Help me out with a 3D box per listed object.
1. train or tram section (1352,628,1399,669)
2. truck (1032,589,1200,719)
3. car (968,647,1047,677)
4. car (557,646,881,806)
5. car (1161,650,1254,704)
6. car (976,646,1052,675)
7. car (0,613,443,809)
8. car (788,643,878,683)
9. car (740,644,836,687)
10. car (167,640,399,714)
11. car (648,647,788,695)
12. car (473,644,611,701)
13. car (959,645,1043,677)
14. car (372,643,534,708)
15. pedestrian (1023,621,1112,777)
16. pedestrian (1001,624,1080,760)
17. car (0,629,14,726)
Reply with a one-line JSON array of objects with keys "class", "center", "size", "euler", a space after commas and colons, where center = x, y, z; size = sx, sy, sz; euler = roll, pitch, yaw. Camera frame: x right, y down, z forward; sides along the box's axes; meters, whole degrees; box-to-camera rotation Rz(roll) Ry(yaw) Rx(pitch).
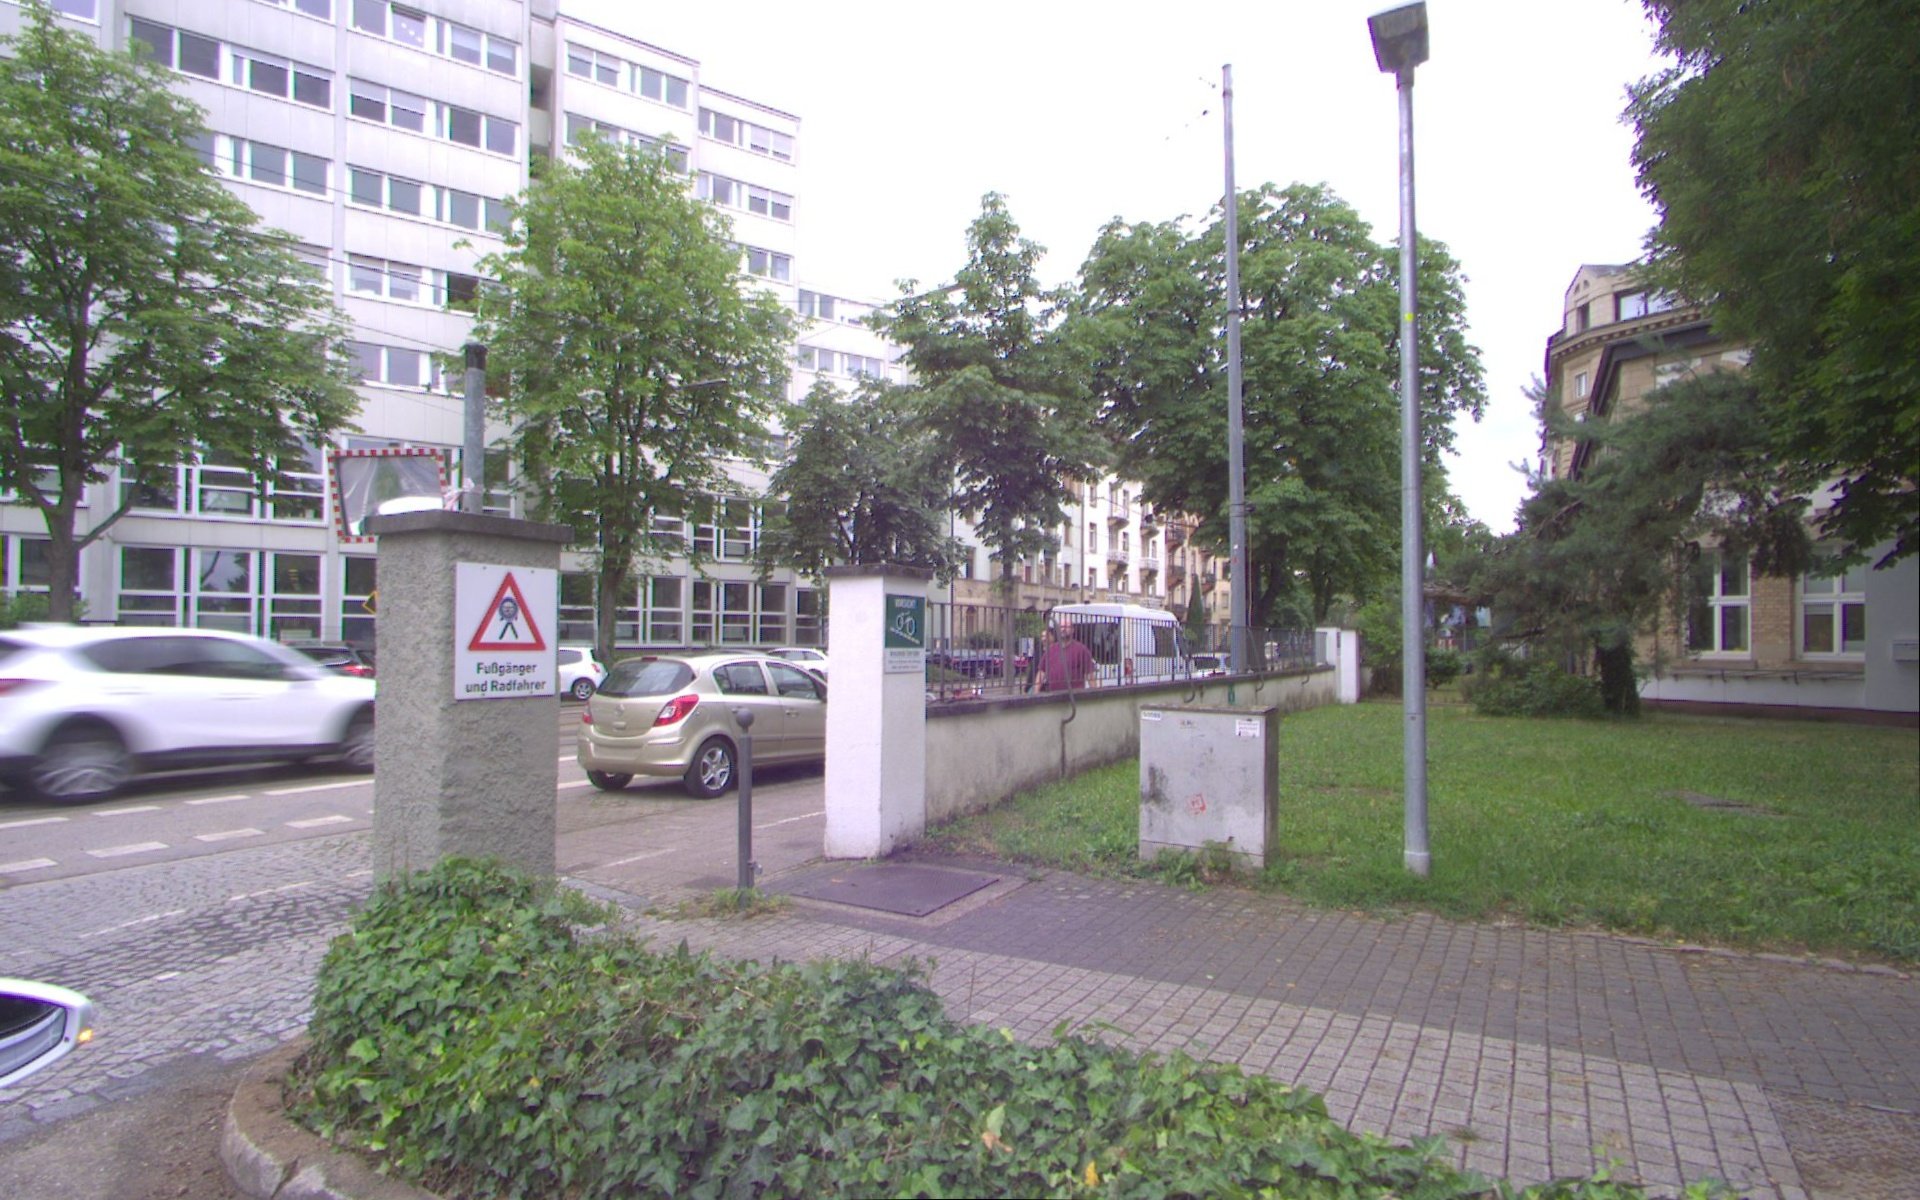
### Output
[{"class": "train or tram section", "center": [39.576, 4.552, 95.163], "size": [2.628, 3.660, 12.406], "euler": [-1, -2, 30]}, {"class": "truck", "center": [3.627, 1.171, 22.423], "size": [2.137, 2.578, 4.908], "euler": [-1, -2, 30]}, {"class": "car", "center": [2.399, 3.103, 50.560], "size": [3.723, 1.460, 1.692], "euler": [1, -2, -9]}, {"class": "car", "center": [-2.604, 1.303, 11.587], "size": [1.641, 1.519, 3.579], "euler": [-1, -3, 30]}, {"class": "car", "center": [7.141, 2.148, 28.644], "size": [1.783, 1.371, 3.799], "euler": [-1, -2, 27]}, {"class": "car", "center": [2.832, 3.182, 52.911], "size": [3.723, 1.460, 1.692], "euler": [1, -2, -9]}, {"class": "car", "center": [-8.406, 1.071, 10.905], "size": [1.971, 1.724, 4.580], "euler": [-1, -3, 31]}, {"class": "car", "center": [-4.954, 2.440, 38.940], "size": [3.328, 1.492, 1.415], "euler": [1, -2, -14]}, {"class": "car", "center": [-6.248, 2.347, 36.252], "size": [3.328, 1.492, 1.416], "euler": [1, -2, -14]}, {"class": "car", "center": [-14.730, 1.644, 22.013], "size": [3.885, 1.492, 1.671], "euler": [0, -2, -18]}, {"class": "car", "center": [-8.007, 2.353, 33.175], "size": [4.420, 1.491, 1.416], "euler": [0, -4, -18]}, {"class": "car", "center": [-11.451, 1.976, 27.635], "size": [3.328, 1.492, 1.415], "euler": [0, -2, -14]}, {"class": "car", "center": [1.914, 2.903, 47.658], "size": [3.723, 1.460, 1.692], "euler": [1, -2, -9]}, {"class": "car", "center": [-12.416, 1.825, 24.709], "size": [3.328, 1.492, 1.415], "euler": [0, -2, -14]}, {"class": "pedestrian", "center": [1.284, 1.130, 11.796], "size": [0.795, 1.740, 0.953], "euler": [0, -2, 24]}, {"class": "pedestrian", "center": [1.089, 1.201, 13.411], "size": [0.789, 1.740, 0.953], "euler": [-1, -2, 23]}, {"class": "car", "center": [-17.791, 1.284, 16.138], "size": [3.344, 1.638, 1.556], "euler": [0, -2, -12]}]
